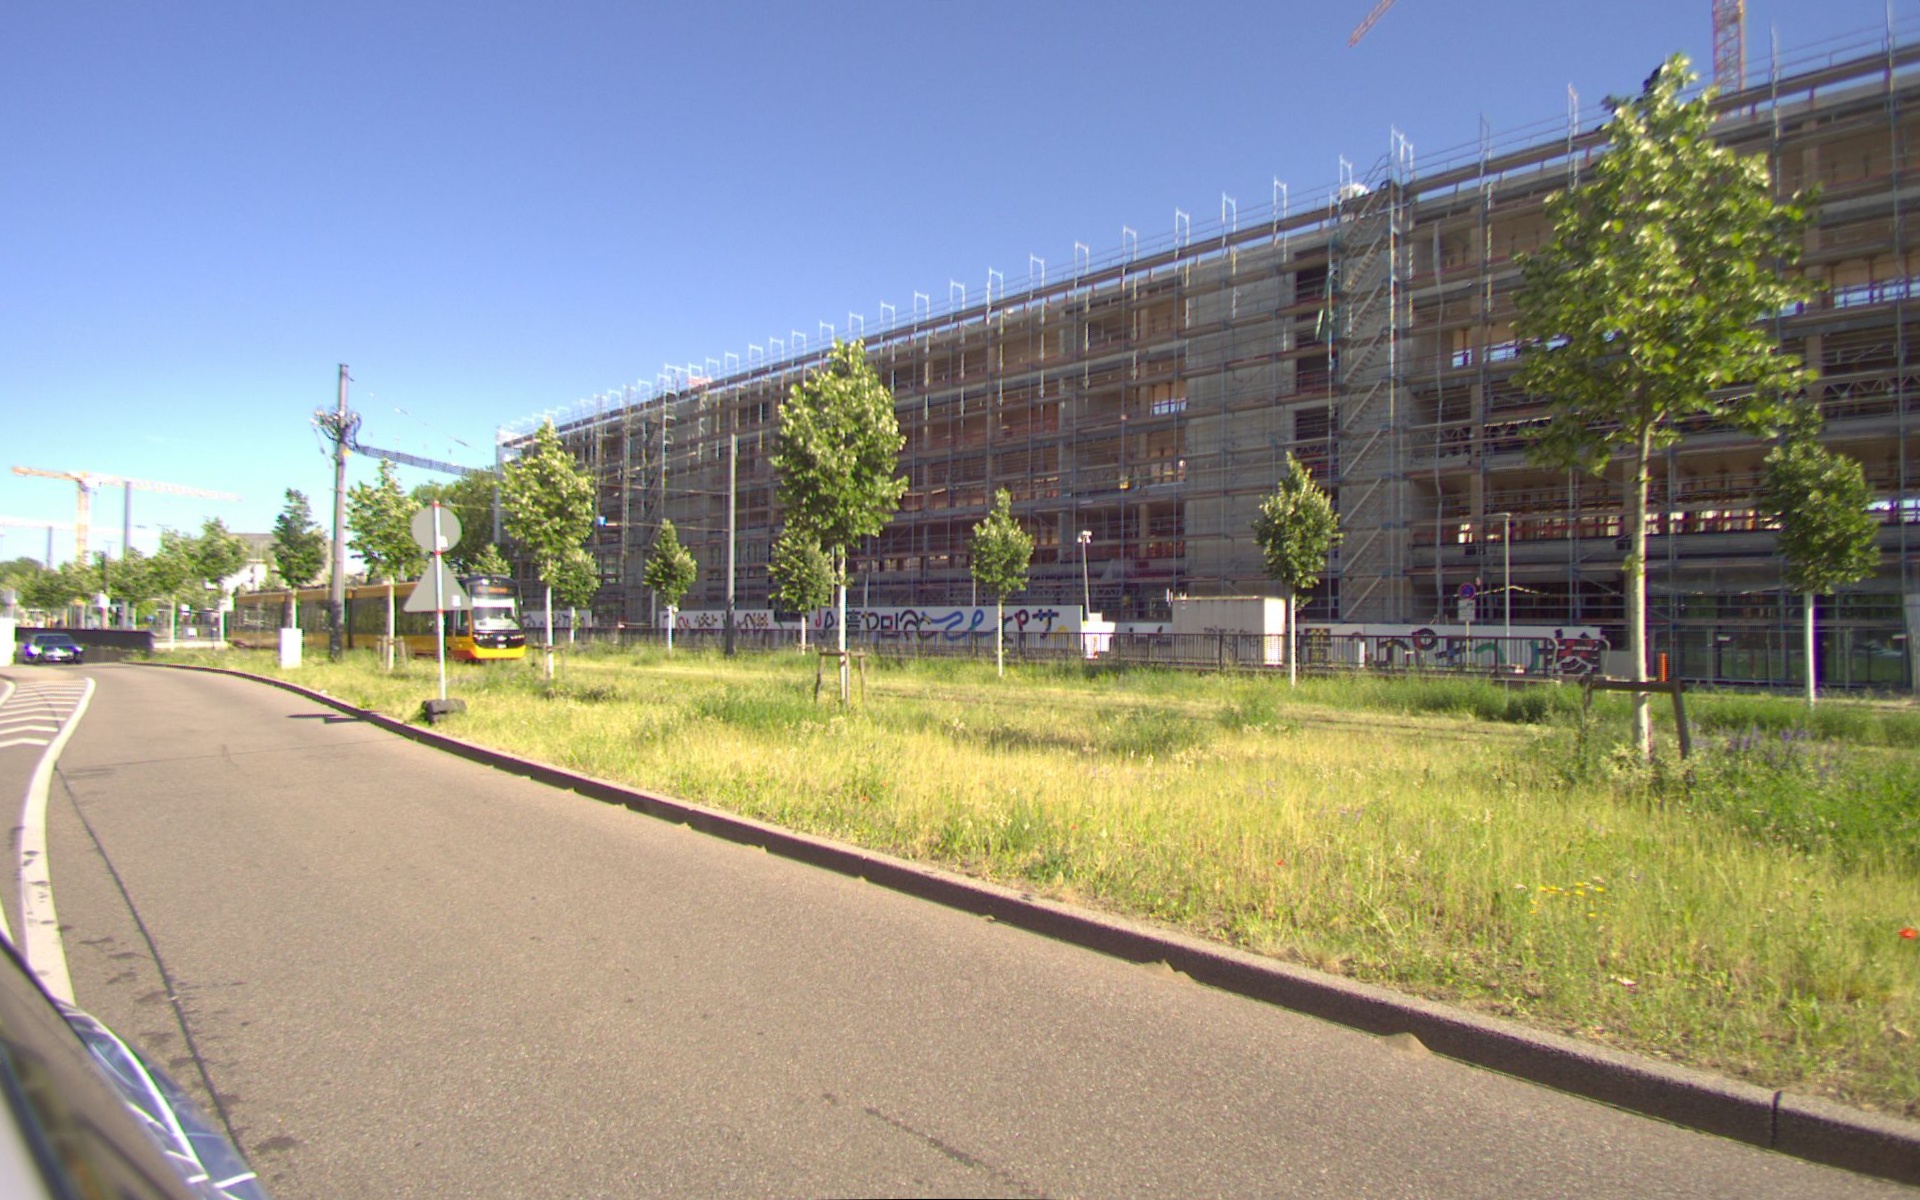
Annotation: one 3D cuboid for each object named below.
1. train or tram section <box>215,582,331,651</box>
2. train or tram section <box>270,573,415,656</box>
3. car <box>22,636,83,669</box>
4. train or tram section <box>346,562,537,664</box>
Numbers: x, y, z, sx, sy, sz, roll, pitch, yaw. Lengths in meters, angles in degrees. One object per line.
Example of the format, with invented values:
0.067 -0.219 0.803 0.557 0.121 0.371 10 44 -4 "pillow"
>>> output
-40.339 0.990 59.127 12.789 3.666 2.784 -1 -3 43 "train or tram section"
-30.986 0.787 50.400 12.789 3.666 2.784 -1 -3 43 "train or tram section"
-43.026 2.444 47.948 4.179 1.454 1.901 -2 -3 45 "car"
-21.647 0.605 41.671 12.789 3.666 2.784 -1 -3 43 "train or tram section"
